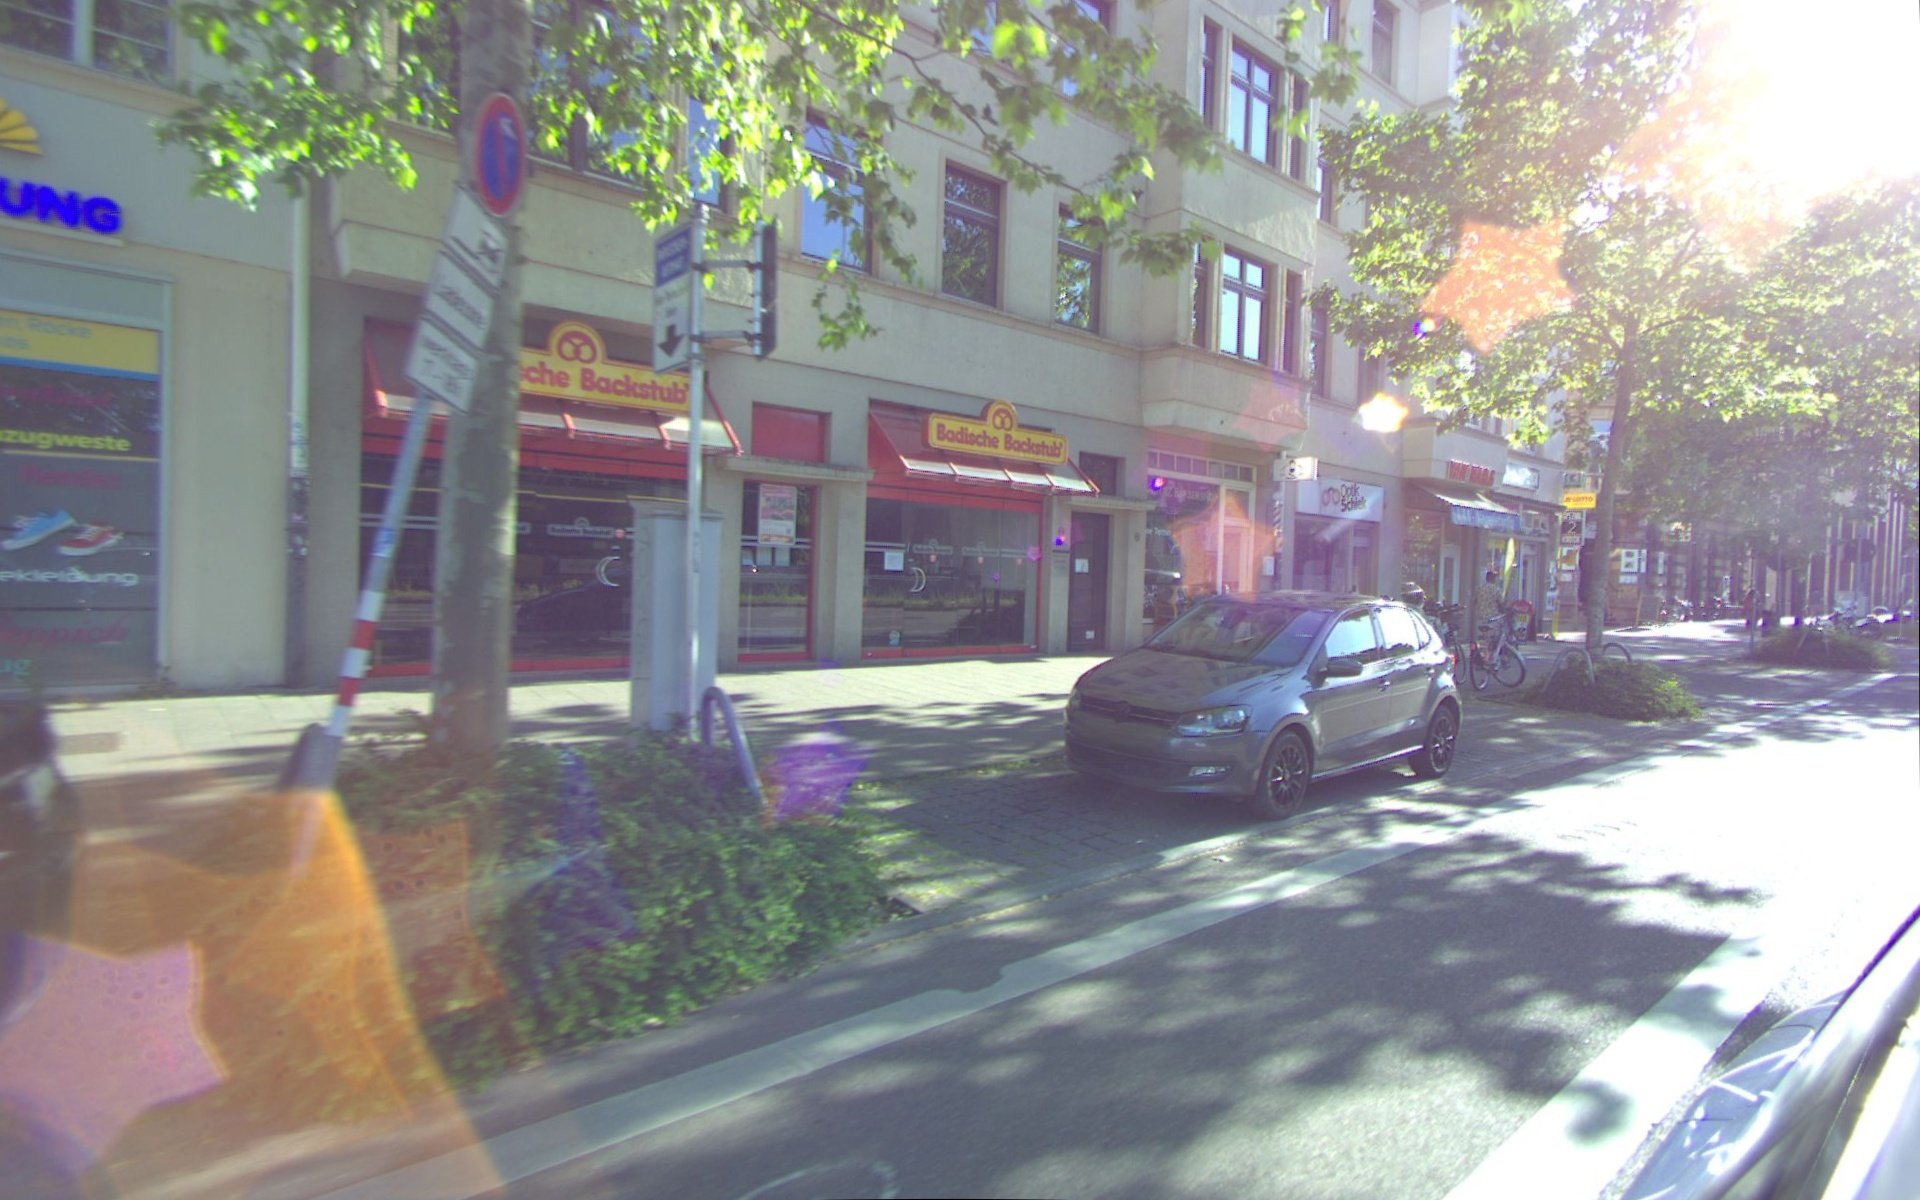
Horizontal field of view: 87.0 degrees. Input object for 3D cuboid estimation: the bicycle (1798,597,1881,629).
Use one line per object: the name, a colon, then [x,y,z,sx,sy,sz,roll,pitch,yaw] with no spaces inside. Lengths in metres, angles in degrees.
bicycle: [31.984,0.456,36.831,0.447,1.107,2.227,0,0,-39]

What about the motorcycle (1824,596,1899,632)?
motorcycle: [31.797,0.473,35.711,0.507,1.246,1.951,0,0,-43]

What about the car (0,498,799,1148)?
car: [-2.975,0.490,3.087,4.513,1.527,2.042,0,2,-41]

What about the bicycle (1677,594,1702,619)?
bicycle: [29.595,0.255,41.042,1.850,1.010,0.415,0,1,-42]

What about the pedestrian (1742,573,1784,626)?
pedestrian: [31.620,-0.041,39.842,1.027,2.039,1.090,0,1,-40]

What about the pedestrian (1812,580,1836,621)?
pedestrian: [39.804,0.027,46.625,0.878,1.850,0.645,0,0,-34]

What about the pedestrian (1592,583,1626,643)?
pedestrian: [17.922,0.354,27.933,0.553,1.642,0.682,0,0,-43]

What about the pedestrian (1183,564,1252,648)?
pedestrian: [4.466,0.090,17.553,0.842,1.386,0.787,0,3,-40]

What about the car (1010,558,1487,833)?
car: [2.344,0.540,7.753,3.735,1.520,1.698,0,4,-41]

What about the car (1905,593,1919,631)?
car: [40.287,0.465,41.566,4.627,1.534,1.821,0,1,-42]

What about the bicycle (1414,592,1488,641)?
bicycle: [11.378,0.347,23.403,2.577,1.036,0.491,0,6,-42]

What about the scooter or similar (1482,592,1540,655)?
scooter or similar: [11.090,0.452,20.373,0.835,1.186,0.745,0,4,-44]

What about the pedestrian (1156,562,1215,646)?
pedestrian: [3.785,0.057,16.980,0.806,1.348,0.536,0,3,-41]

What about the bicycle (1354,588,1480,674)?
bicycle: [6.713,0.453,14.859,1.834,1.222,0.387,1,0,-14]

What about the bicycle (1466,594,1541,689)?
bicycle: [7.866,0.566,14.612,0.392,1.229,1.872,4,4,45]

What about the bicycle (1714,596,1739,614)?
bicycle: [34.901,0.221,46.084,1.634,0.783,0.550,0,4,-42]

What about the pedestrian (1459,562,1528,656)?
pedestrian: [10.327,0.155,19.575,0.901,1.725,0.860,0,3,-43]
